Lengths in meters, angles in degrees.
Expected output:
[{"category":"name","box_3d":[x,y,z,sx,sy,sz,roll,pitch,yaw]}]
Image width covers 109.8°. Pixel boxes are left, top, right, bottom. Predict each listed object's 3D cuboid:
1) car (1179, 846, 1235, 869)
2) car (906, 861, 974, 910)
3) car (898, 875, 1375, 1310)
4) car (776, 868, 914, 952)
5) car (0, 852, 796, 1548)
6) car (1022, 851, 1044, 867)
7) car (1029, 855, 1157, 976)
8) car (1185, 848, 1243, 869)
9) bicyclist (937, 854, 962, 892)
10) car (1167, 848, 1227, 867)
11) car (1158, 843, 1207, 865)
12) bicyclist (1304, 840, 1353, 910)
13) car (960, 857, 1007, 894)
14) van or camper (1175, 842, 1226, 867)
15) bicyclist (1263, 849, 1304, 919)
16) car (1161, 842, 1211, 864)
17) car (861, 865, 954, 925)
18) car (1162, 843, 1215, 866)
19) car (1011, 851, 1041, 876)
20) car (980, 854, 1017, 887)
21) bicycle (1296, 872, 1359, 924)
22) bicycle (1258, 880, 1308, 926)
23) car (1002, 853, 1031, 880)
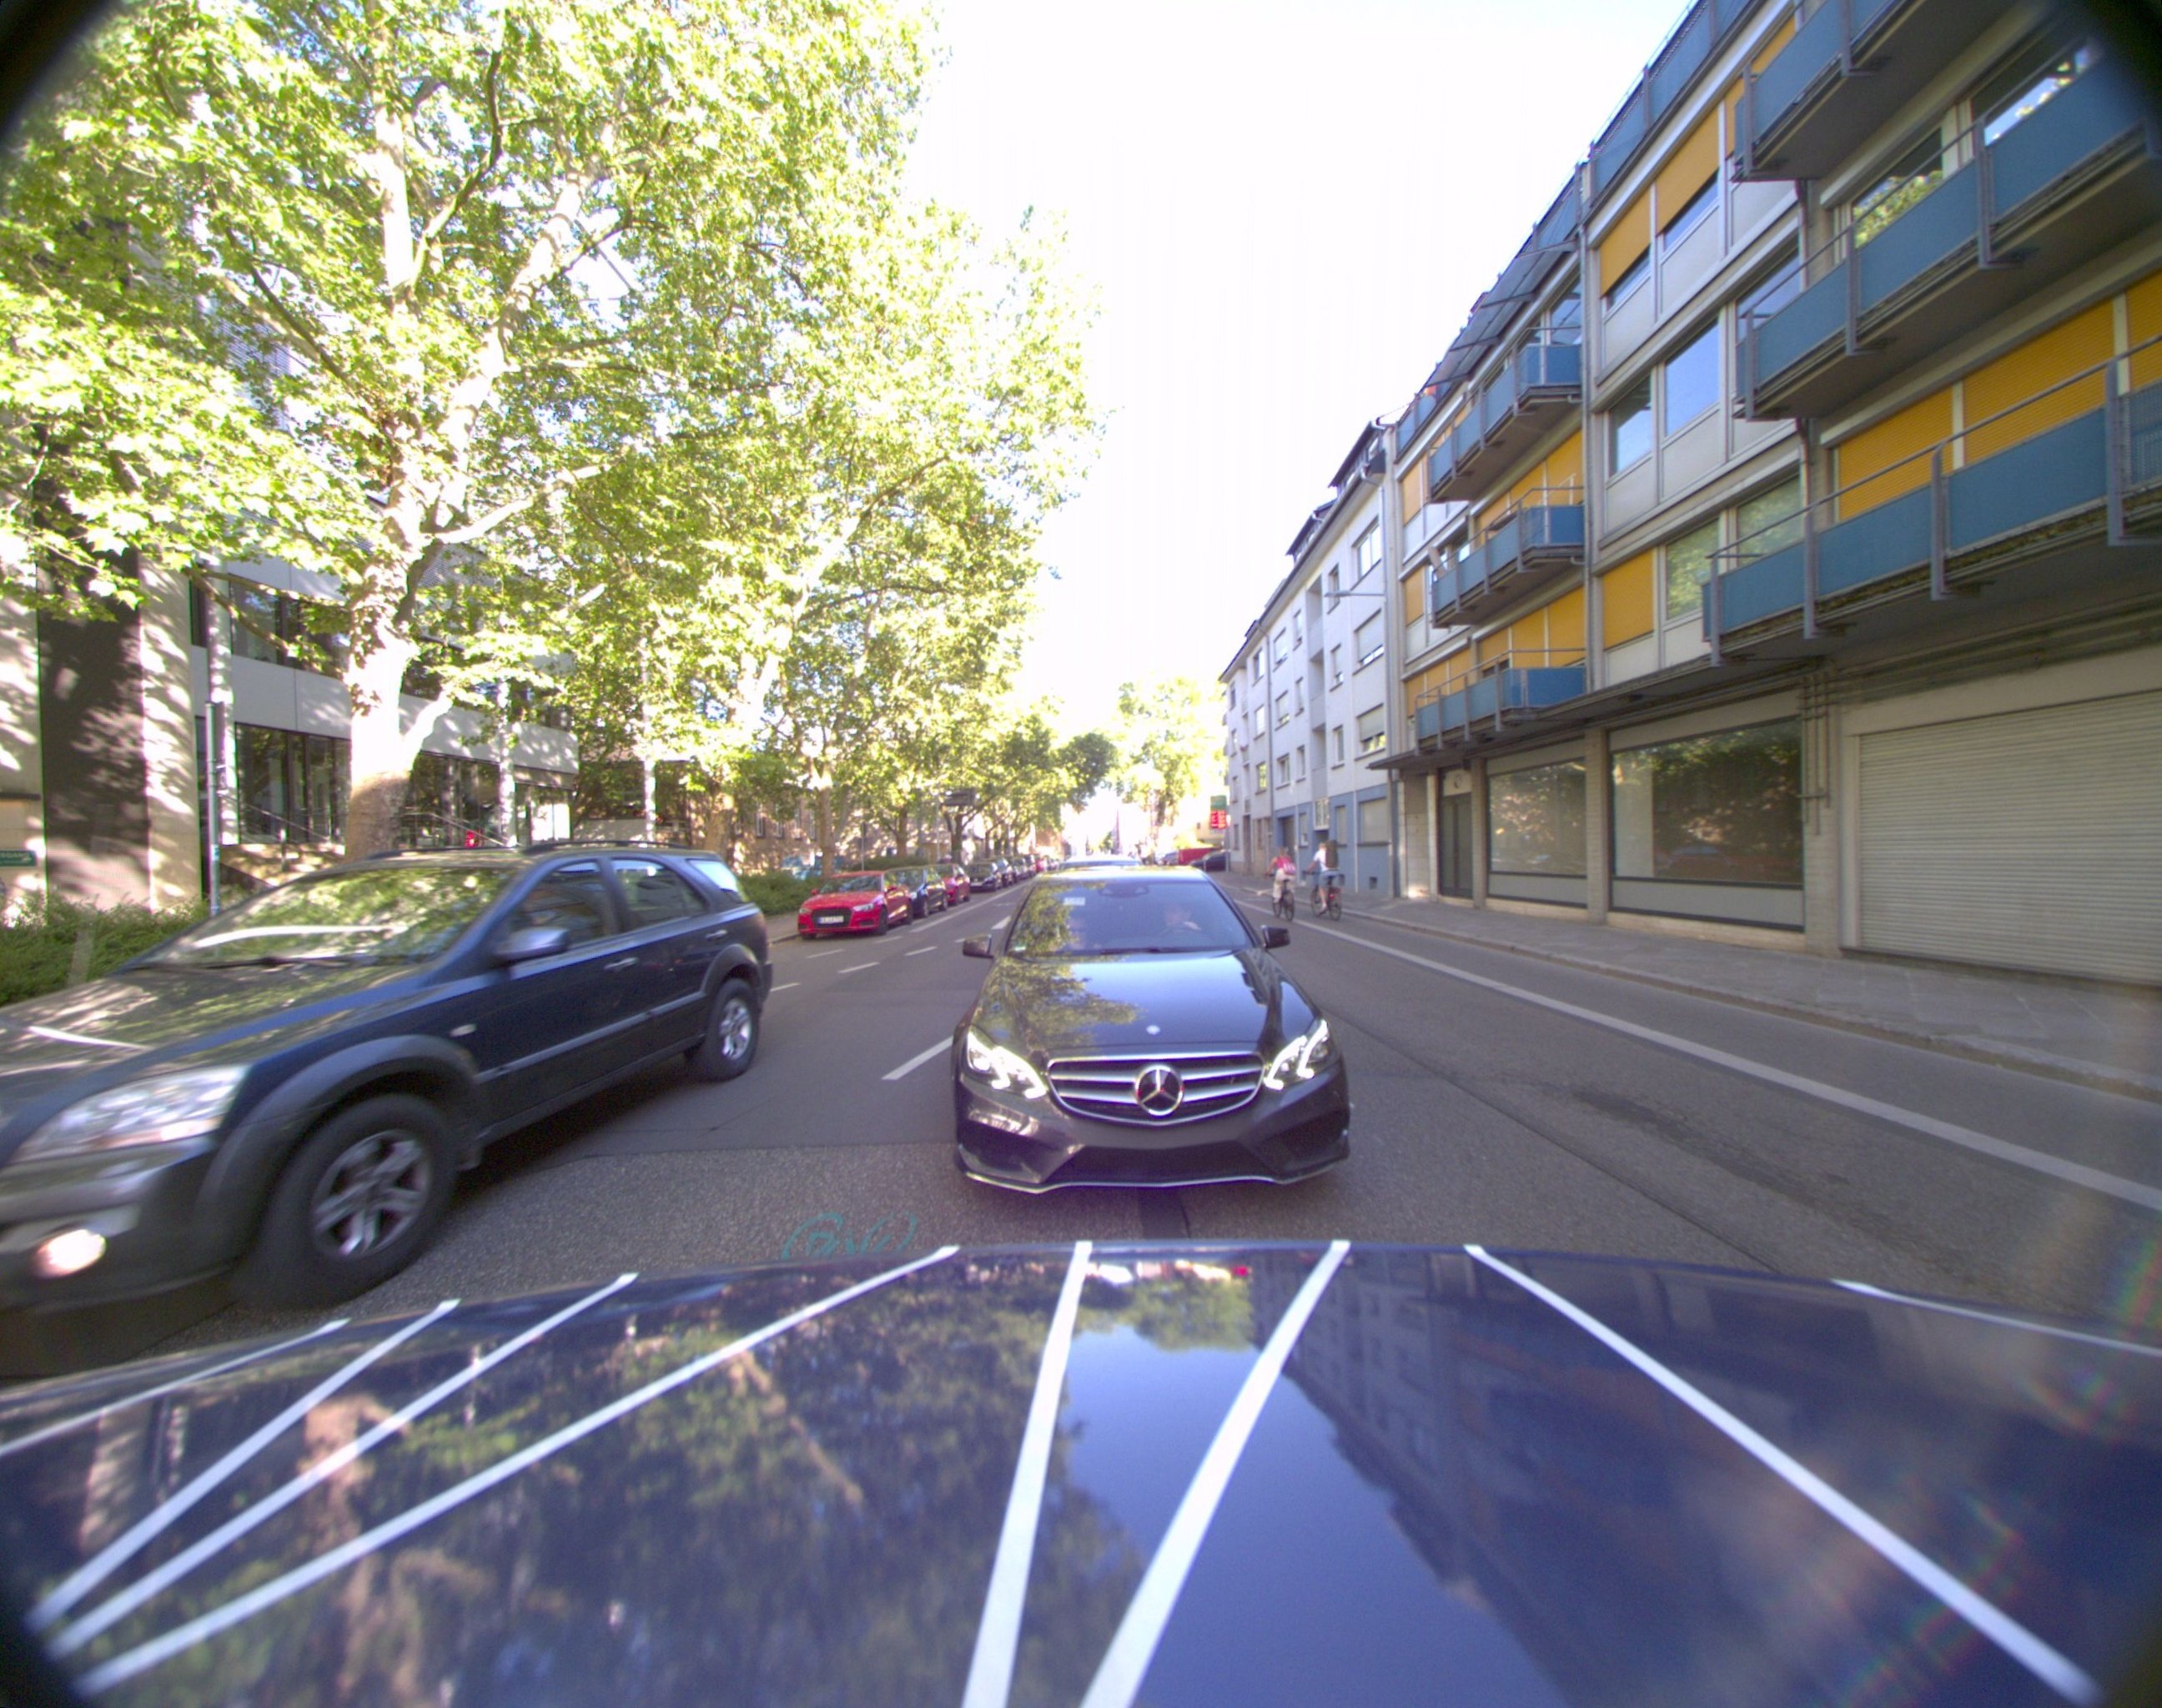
[{"category":"car","box_3d":[10.126,0.270,61.292,4.146,1.681,2.000,-2,0,1]},{"category":"car","box_3d":[-5.032,1.089,27.635,1.681,1.484,3.918,-4,0,0]},{"category":"car","box_3d":[0.205,0.948,4.775,1.740,1.448,3.864,-2,0,0]},{"category":"car","box_3d":[-5.270,1.180,17.604,1.830,1.519,4.142,-4,0,0]},{"category":"car","box_3d":[-3.449,0.928,4.171,1.784,1.760,4.385,-3,0,4]},{"category":"car","box_3d":[-4.397,0.435,70.444,1.741,1.469,4.091,-2,0,0]},{"category":"car","box_3d":[0.197,0.837,12.627,1.646,1.520,4.619,-4,0,1]},{"category":"car","box_3d":[10.303,0.325,58.962,4.146,1.486,2.000,-2,0,1]},{"category":"bicyclist","box_3d":[-5.794,0.834,33.481,1.038,1.610,0.697,-2,1,-10]},{"category":"car","box_3d":[10.148,0.285,66.702,4.991,1.486,2.000,-2,0,1]},{"category":"car","box_3d":[11.023,-0.008,82.823,4.991,2.181,2.000,-2,1,1]},{"category":"bicyclist","box_3d":[5.740,0.474,17.639,0.844,1.546,0.839,-2,1,1]},{"category":"car","box_3d":[-4.746,1.006,37.456,1.741,1.622,4.091,-2,0,0]},{"category":"van or camper","box_3d":[10.047,0.024,64.199,3.997,2.002,2.000,-2,1,0]},{"category":"bicyclist","box_3d":[4.708,0.672,17.703,0.686,1.569,0.982,-2,1,2]},{"category":"car","box_3d":[11.020,-0.101,80.191,4.991,2.181,2.000,-2,1,1]},{"category":"car","box_3d":[-5.031,1.135,22.595,1.741,1.444,4.091,-4,0,0]},{"category":"car","box_3d":[10.900,0.026,77.340,4.991,2.181,2.000,-2,1,1]},{"category":"car","box_3d":[-4.290,0.720,59.847,1.992,1.795,4.376,-2,0,0]},{"category":"car","box_3d":[-4.561,0.872,42.353,1.634,1.677,3.907,-2,0,0]},{"category":"bicycle","box_3d":[5.729,0.991,17.791,0.865,1.072,1.836,-2,0,1]},{"category":"bicycle","box_3d":[4.709,1.118,17.827,0.695,0.924,1.863,-2,0,1]},{"category":"car","box_3d":[-4.624,0.866,54.714,1.741,1.785,3.895,-2,0,0]}]
